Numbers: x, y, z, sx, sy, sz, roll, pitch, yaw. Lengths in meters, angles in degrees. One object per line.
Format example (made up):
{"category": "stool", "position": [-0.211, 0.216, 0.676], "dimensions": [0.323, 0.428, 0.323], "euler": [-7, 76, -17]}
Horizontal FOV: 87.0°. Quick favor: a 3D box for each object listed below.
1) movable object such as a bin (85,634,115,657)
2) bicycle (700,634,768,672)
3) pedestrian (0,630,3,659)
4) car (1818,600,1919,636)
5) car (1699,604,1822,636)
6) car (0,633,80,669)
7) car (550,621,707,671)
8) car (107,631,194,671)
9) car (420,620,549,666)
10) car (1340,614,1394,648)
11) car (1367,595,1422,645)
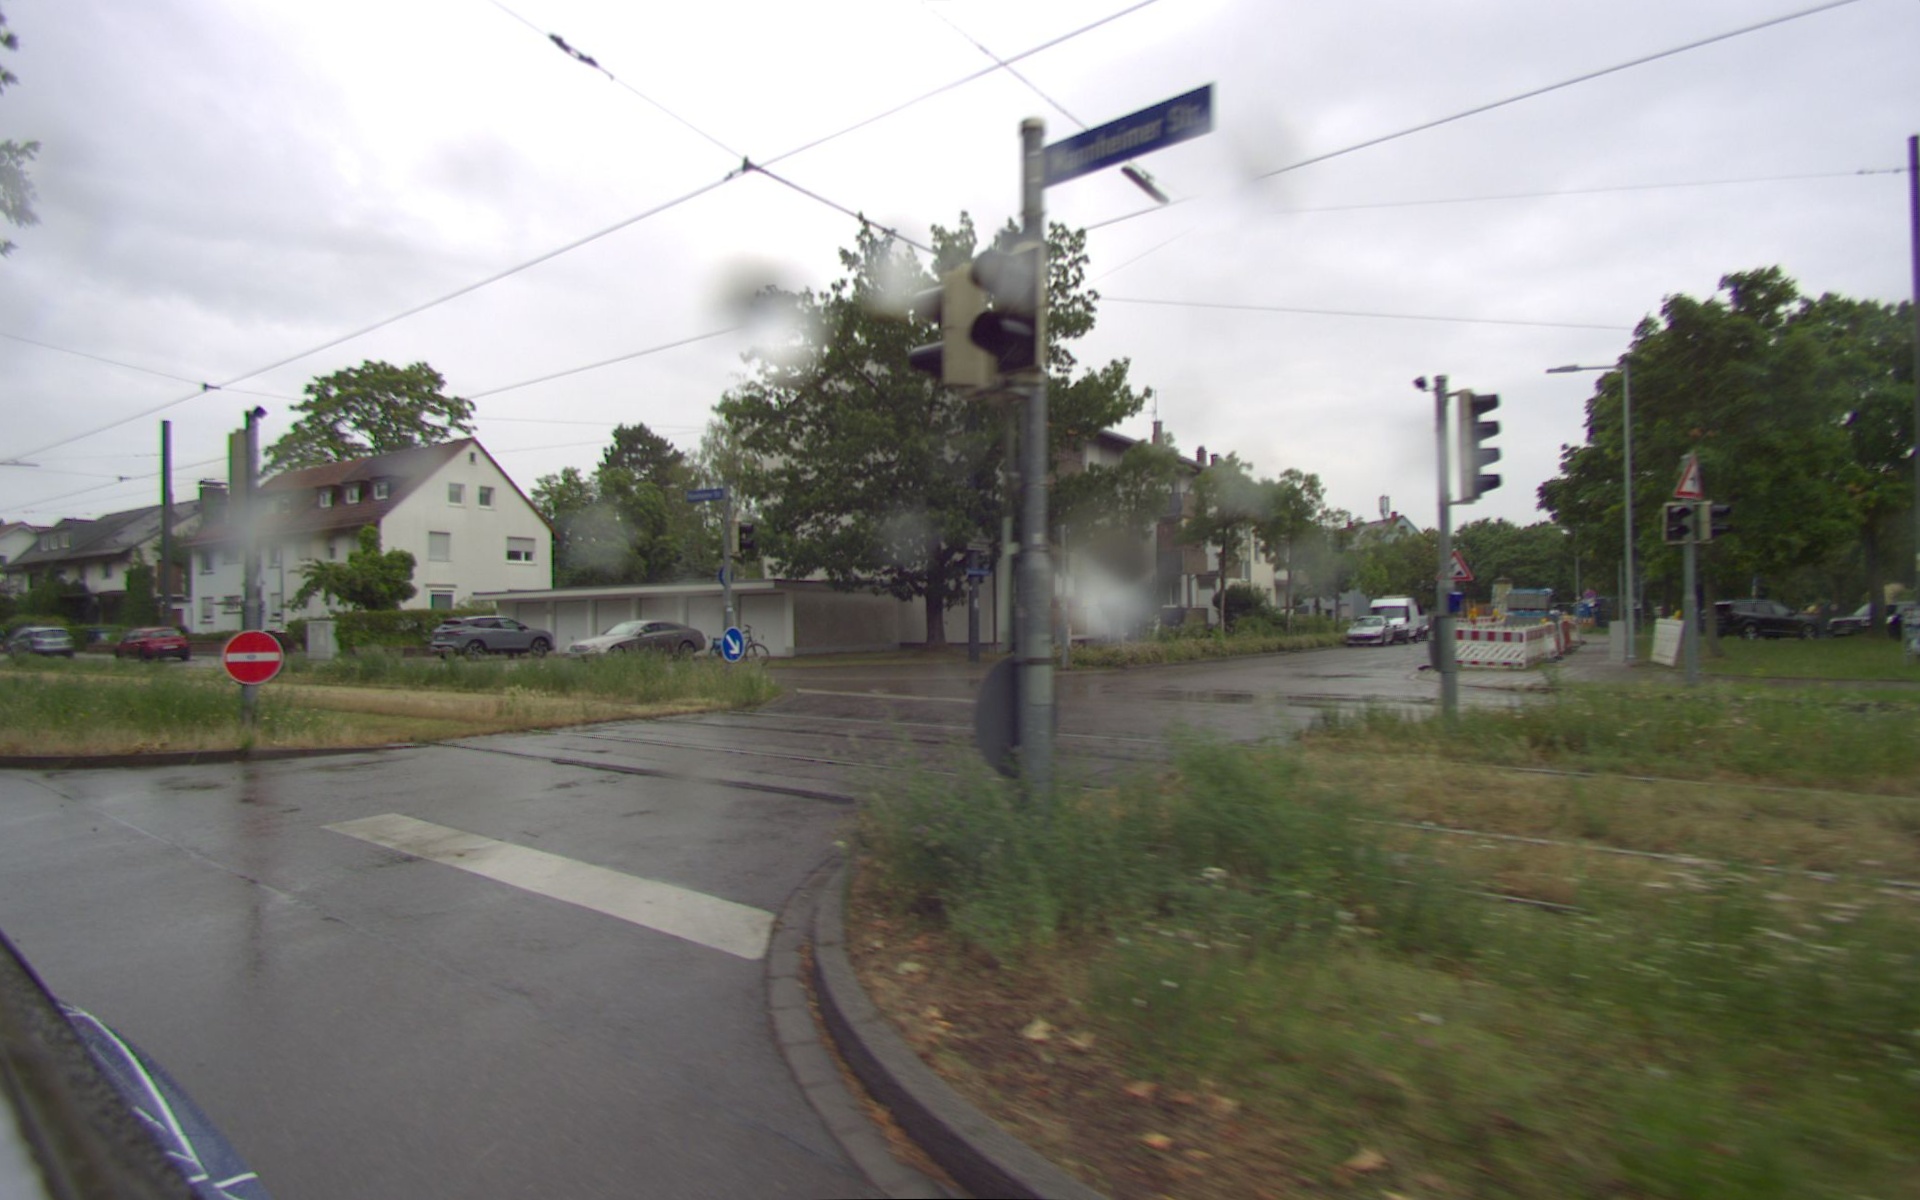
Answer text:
{"category": "movable object such as a bin", "position": [-51.073, 2.721, 60.096], "dimensions": [0.737, 1.307, 1.175], "euler": [-2, 0, 33]}
{"category": "bicycle", "position": [-6.485, 1.522, 29.059], "dimensions": [1.820, 1.026, 0.481], "euler": [-2, 1, 9]}
{"category": "pedestrian", "position": [-59.859, 2.795, 62.714], "dimensions": [0.866, 1.781, 0.593], "euler": [-2, -1, 33]}
{"category": "car", "position": [33.059, 0.646, 36.022], "dimensions": [3.685, 1.258, 1.667], "euler": [0, -2, -5]}
{"category": "car", "position": [32.140, 0.807, 40.691], "dimensions": [3.685, 1.258, 1.667], "euler": [0, -2, -5]}
{"category": "car", "position": [-46.534, 2.564, 51.134], "dimensions": [4.671, 1.626, 1.977], "euler": [-2, 0, 34]}
{"category": "car", "position": [-10.674, 1.443, 32.918], "dimensions": [1.844, 1.376, 4.685], "euler": [-2, -1, 35]}
{"category": "car", "position": [-35.171, 2.191, 43.951], "dimensions": [3.962, 1.558, 1.827], "euler": [-2, 1, 34]}
{"category": "car", "position": [-17.516, 1.555, 37.433], "dimensions": [1.886, 1.588, 3.957], "euler": [-2, -2, 32]}
{"category": "car", "position": [19.219, 1.467, 47.714], "dimensions": [1.747, 1.542, 3.589], "euler": [-2, -2, 32]}
{"category": "car", "position": [22.729, 1.077, 52.841], "dimensions": [1.911, 2.465, 4.421], "euler": [-2, -2, 32]}
